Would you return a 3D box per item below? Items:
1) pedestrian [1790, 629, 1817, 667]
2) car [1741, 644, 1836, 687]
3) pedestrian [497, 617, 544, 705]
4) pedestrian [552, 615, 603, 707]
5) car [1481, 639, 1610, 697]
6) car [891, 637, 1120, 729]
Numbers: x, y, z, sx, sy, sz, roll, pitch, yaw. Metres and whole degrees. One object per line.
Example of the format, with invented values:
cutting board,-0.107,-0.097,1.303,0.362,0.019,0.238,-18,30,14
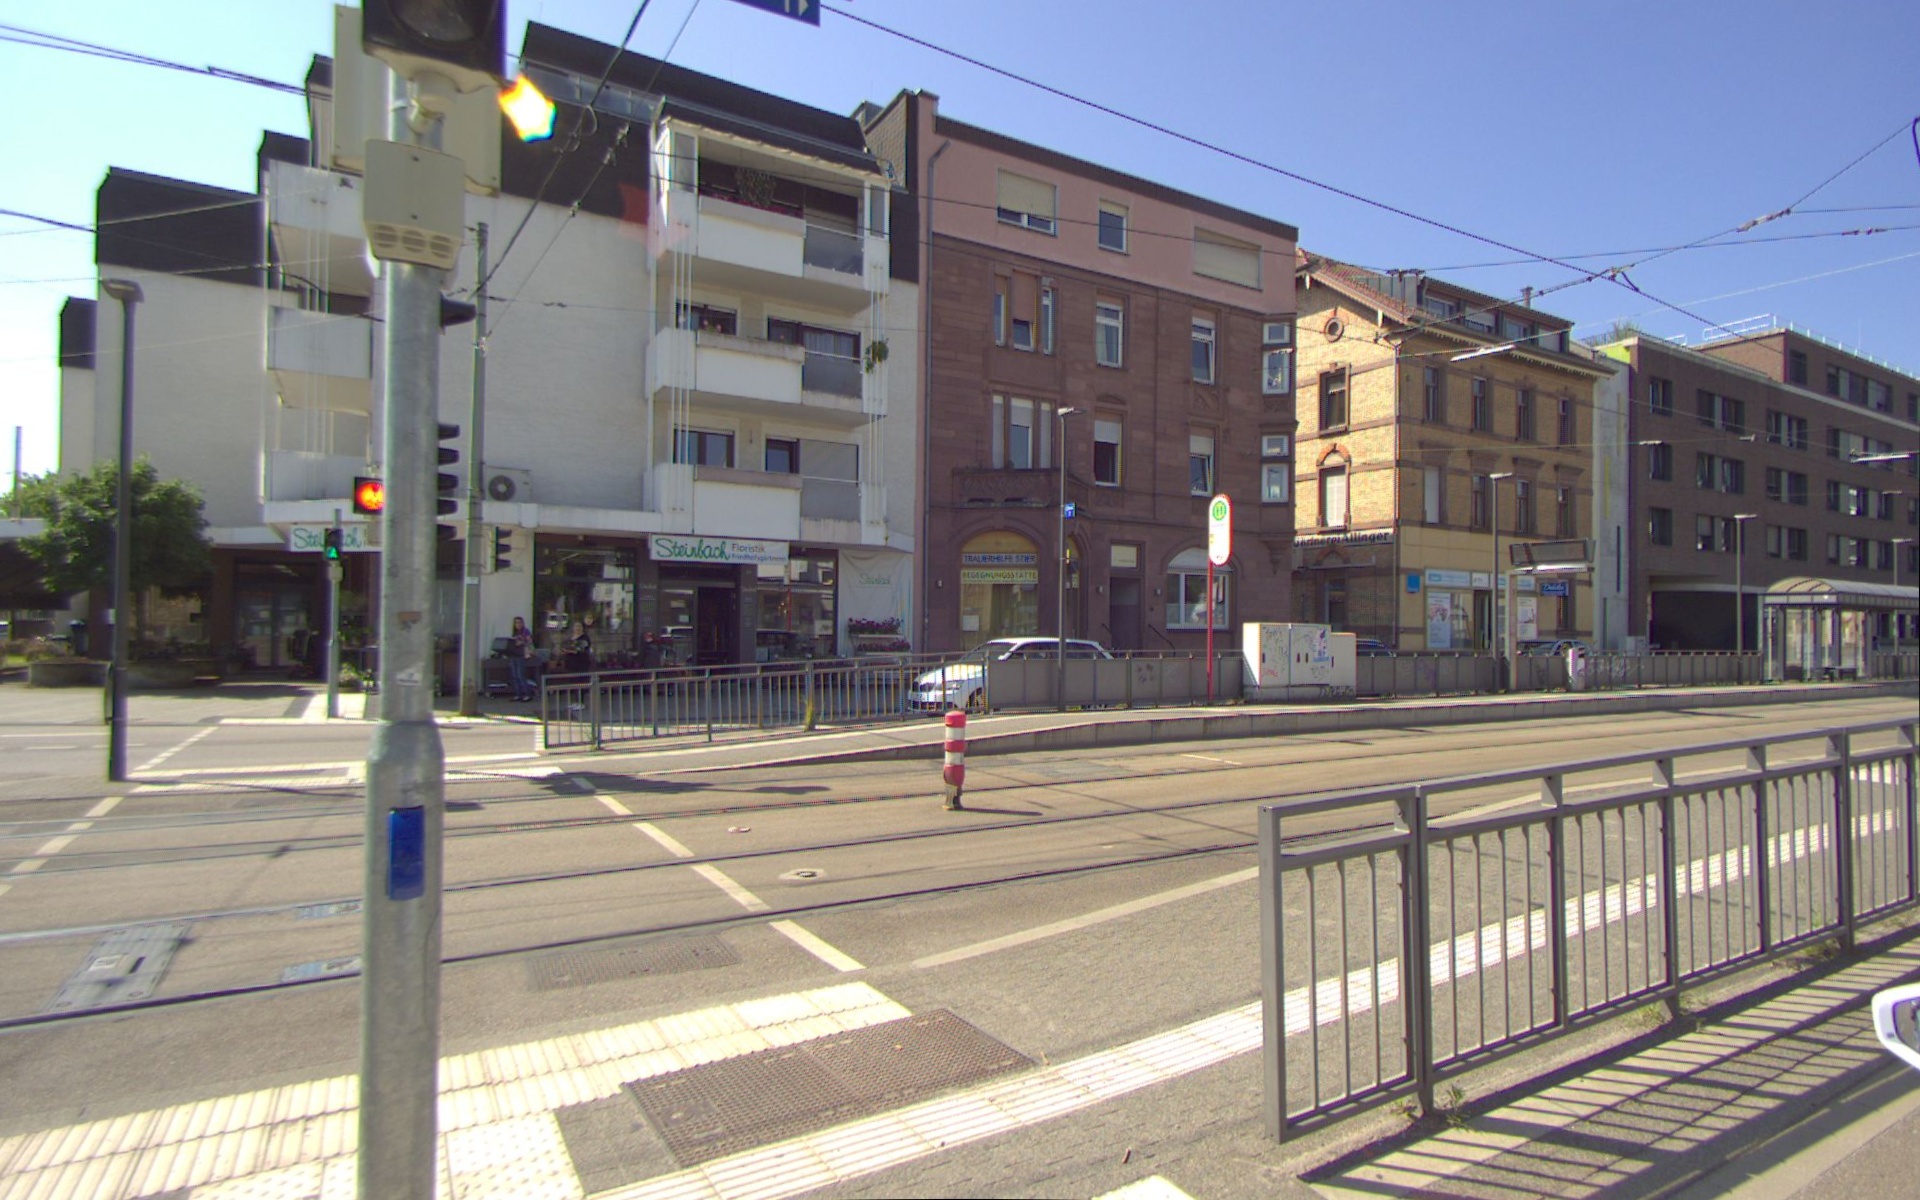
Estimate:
pedestrian,41.032,2.342,48.888,0.953,1.814,0.721,1,-2,-31
car,30.446,2.380,36.899,3.892,1.478,1.564,2,-2,-32
pedestrian,-8.516,1.164,19.471,0.724,1.669,0.675,1,-2,-31
pedestrian,-7.153,1.128,18.814,0.668,1.669,0.880,1,-2,-7
car,16.044,1.823,27.489,3.697,1.478,1.564,2,-2,-32
car,0.873,1.450,18.180,3.920,1.450,1.616,2,-1,-33
